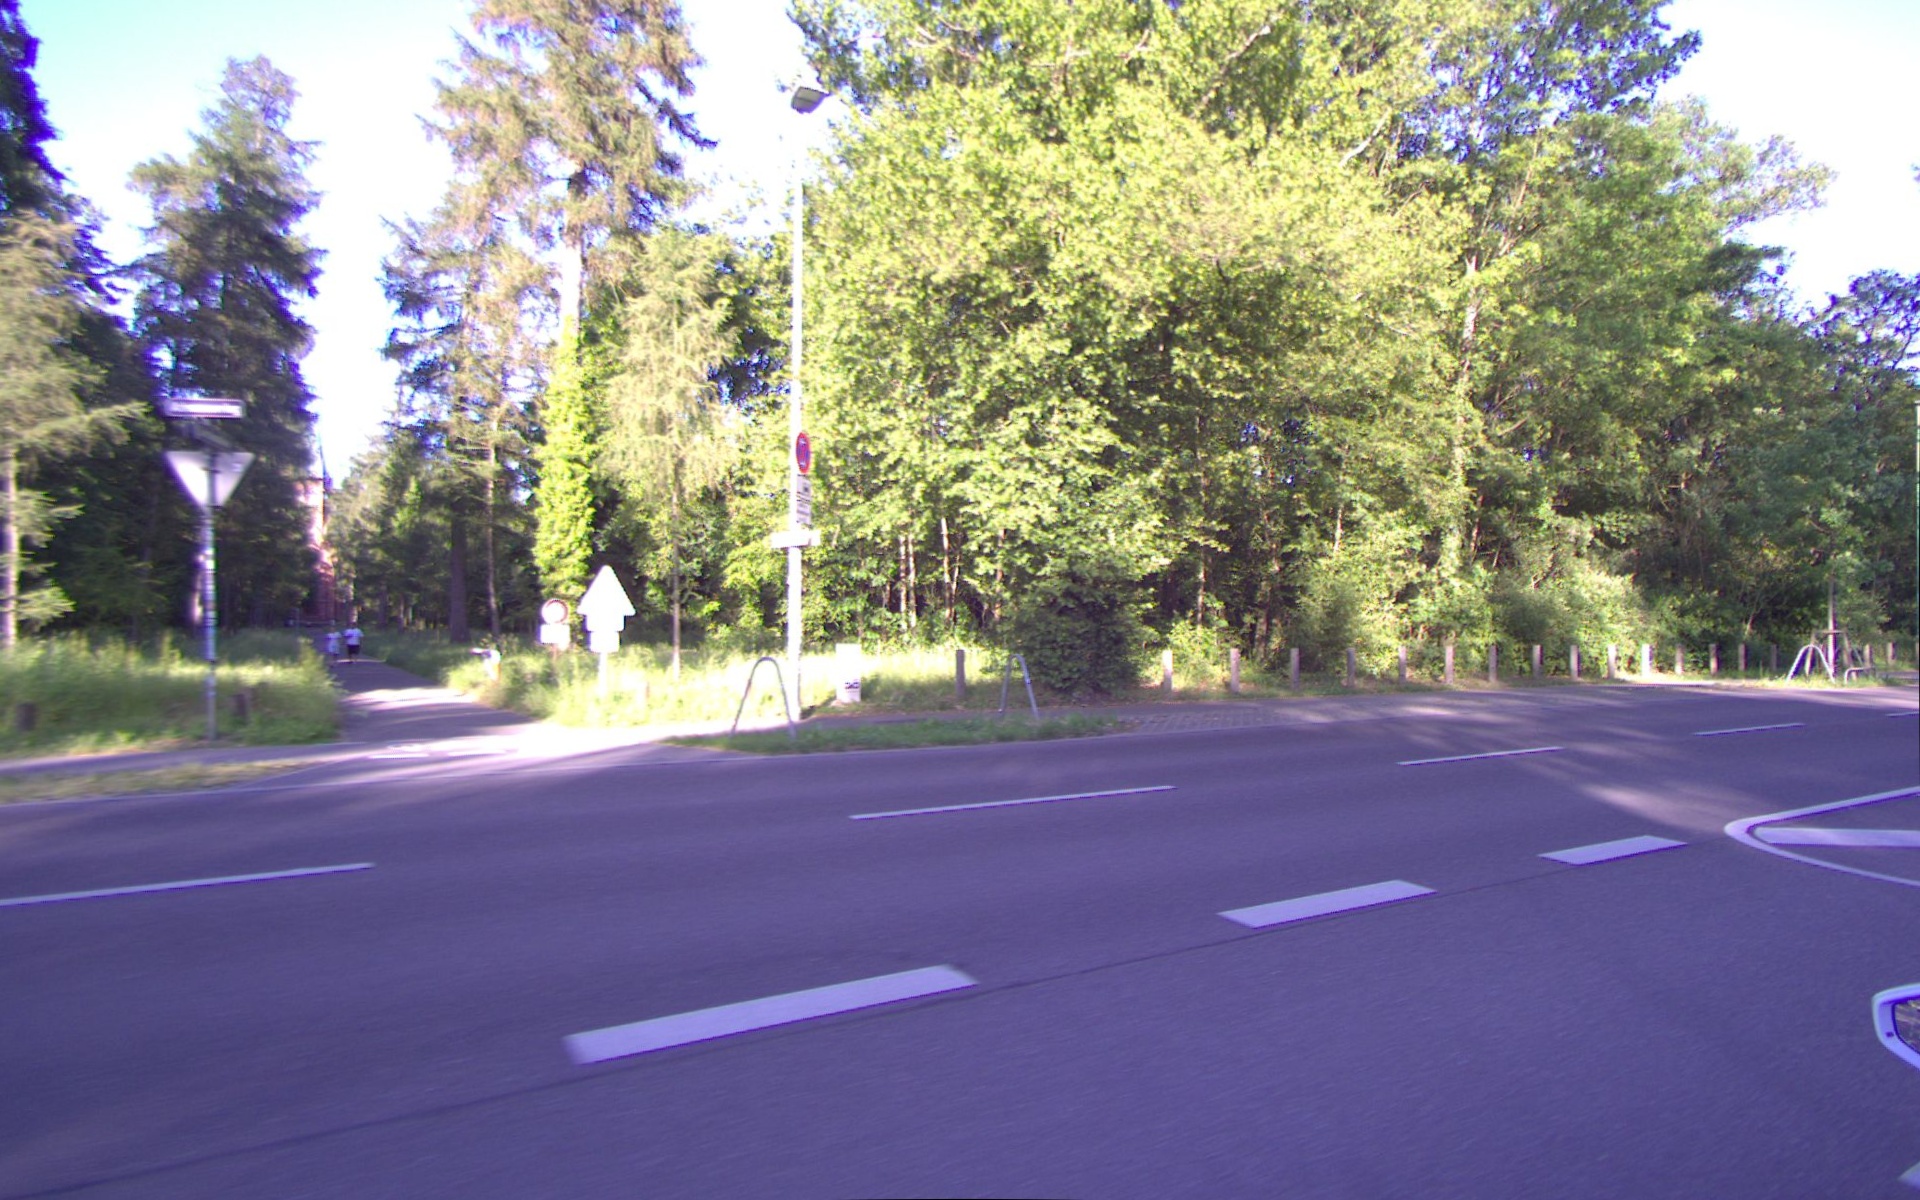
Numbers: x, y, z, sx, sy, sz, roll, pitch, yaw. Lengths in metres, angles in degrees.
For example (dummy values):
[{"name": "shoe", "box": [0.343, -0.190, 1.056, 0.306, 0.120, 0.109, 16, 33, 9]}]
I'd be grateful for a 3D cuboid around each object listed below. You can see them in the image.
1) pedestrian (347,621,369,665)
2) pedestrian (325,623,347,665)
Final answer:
[{"name": "pedestrian", "box": [-24.006, 1.711, 40.069, 0.707, 1.704, 0.541, 1, -1, -30]}, {"name": "pedestrian", "box": [-24.672, 1.741, 39.707, 0.707, 1.632, 0.541, 1, -1, -30]}]
